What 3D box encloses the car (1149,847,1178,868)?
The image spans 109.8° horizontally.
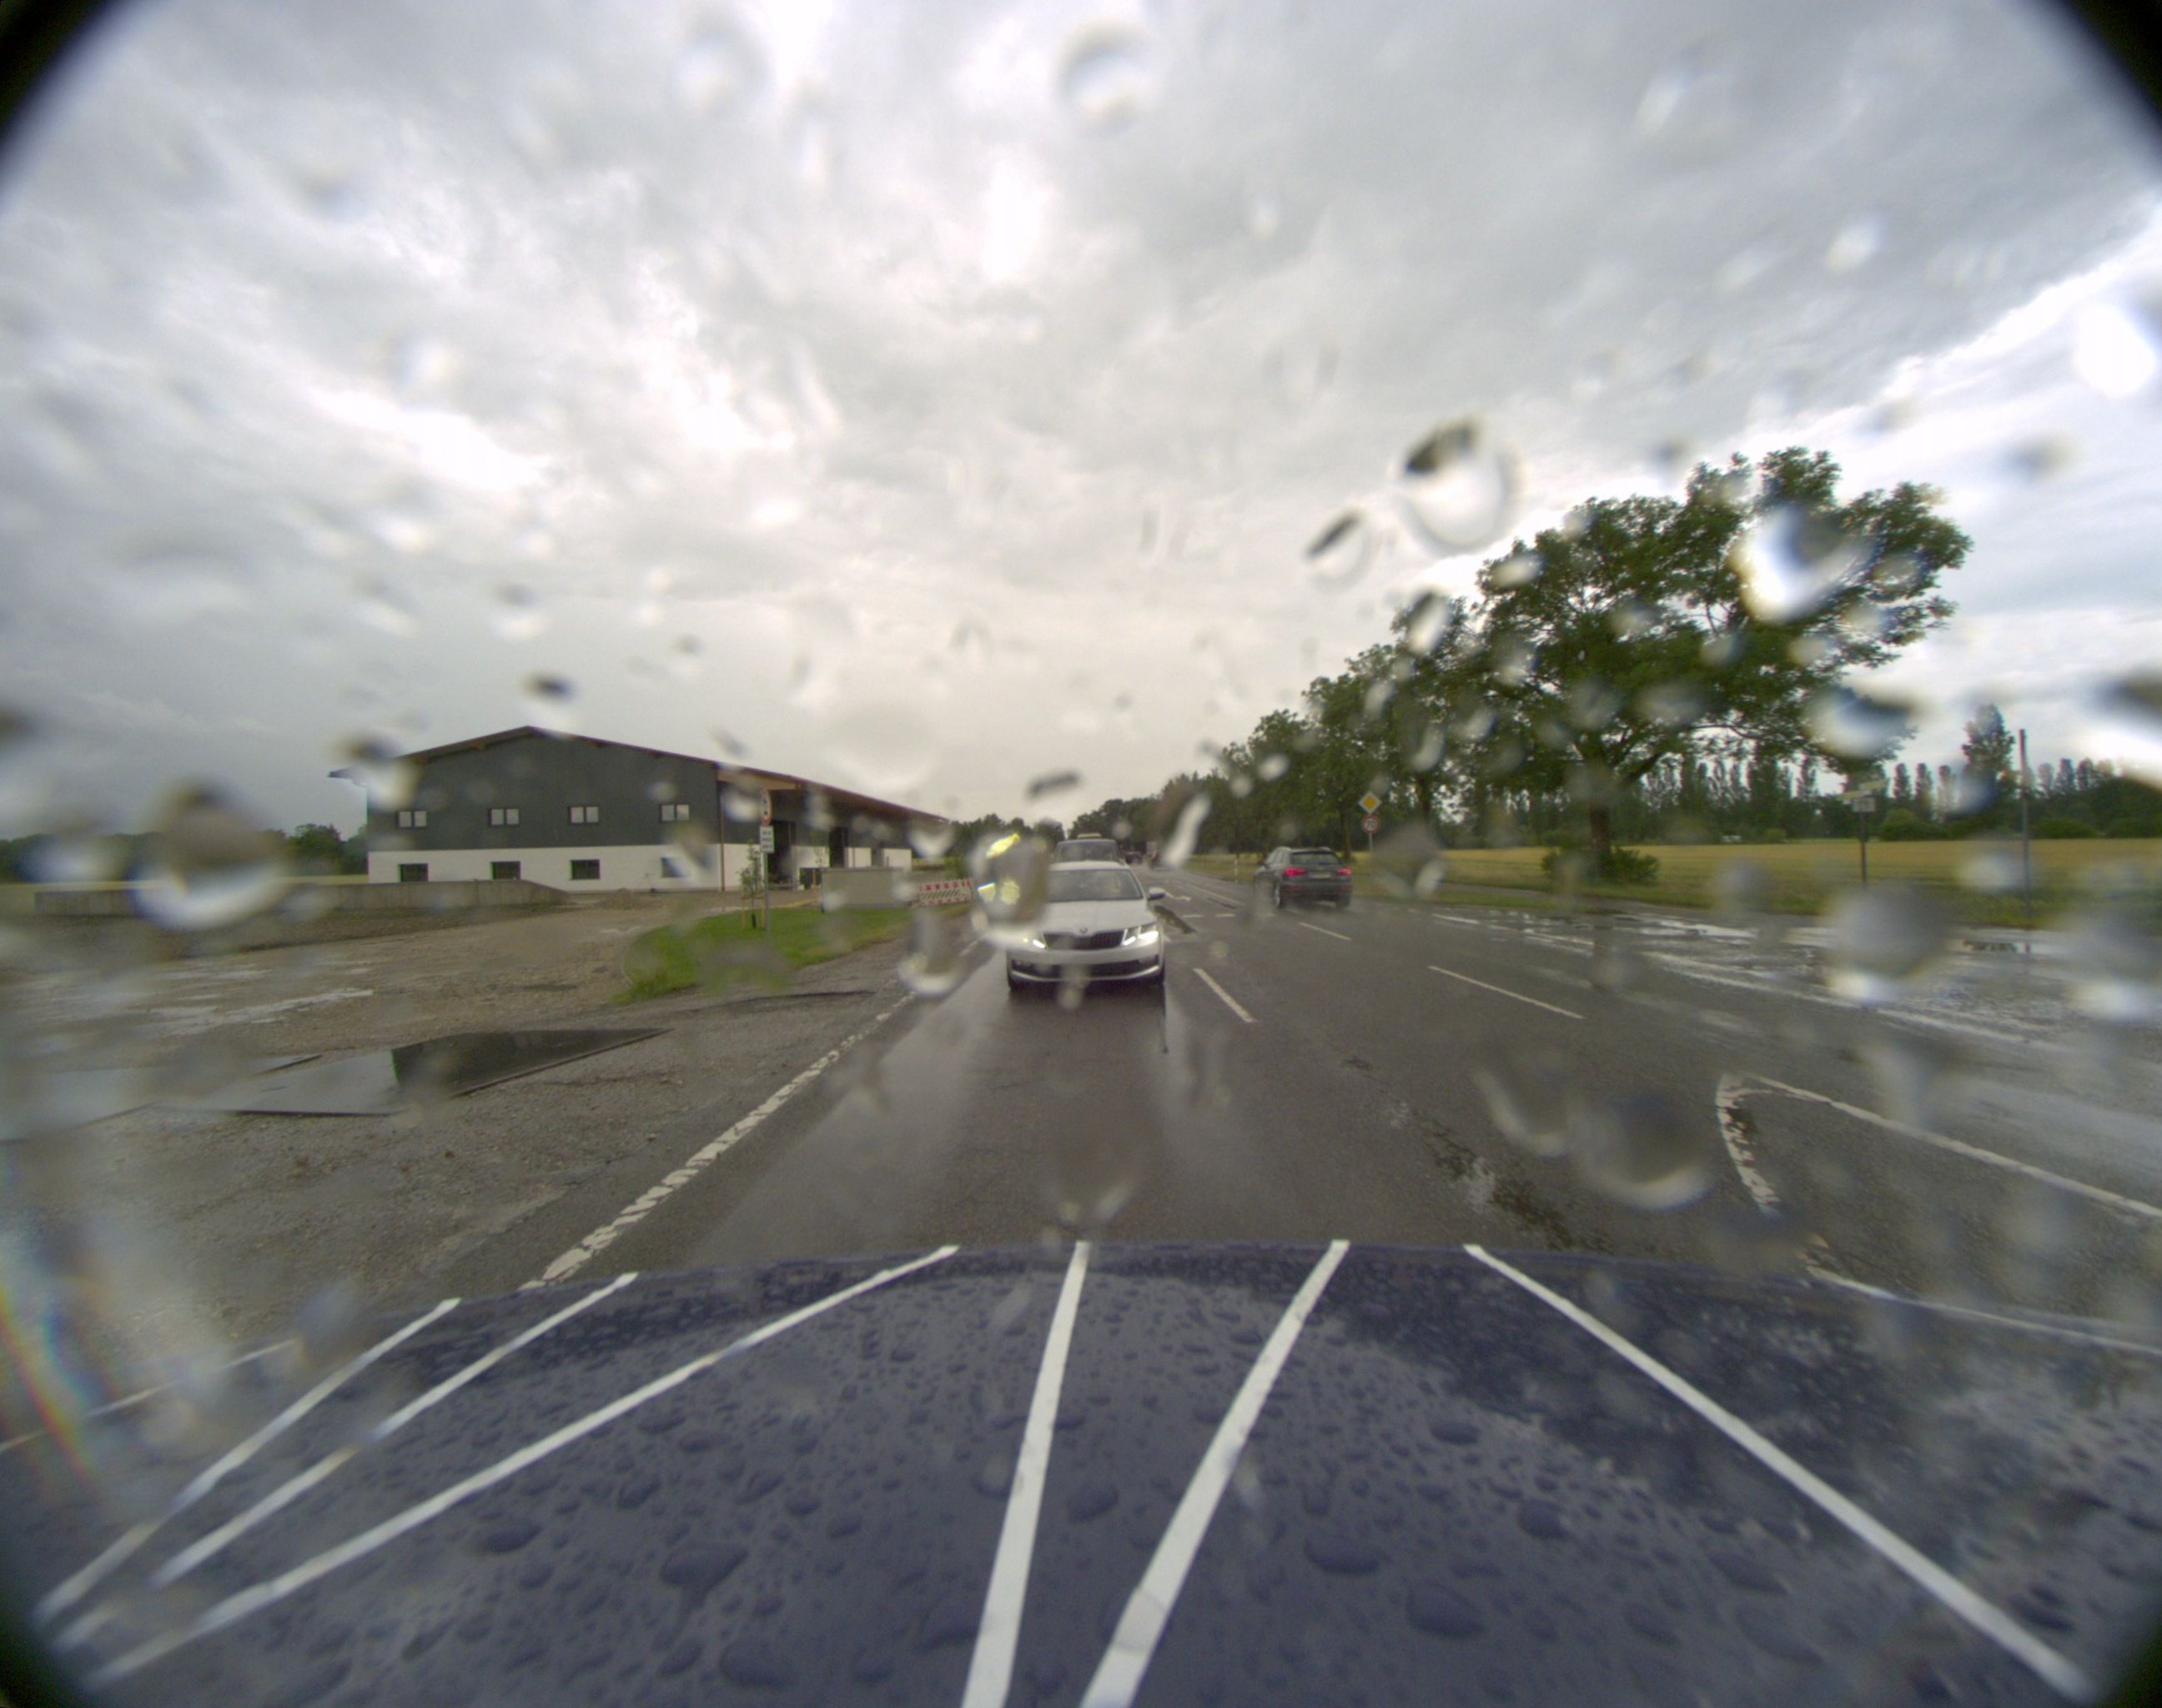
[{"bbox_3d":[6.633,0.266,61.580,1.949,1.571,4.443,0,0,0],"label":"car"}]

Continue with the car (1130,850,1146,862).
[{"bbox_3d":[6.734,0.229,89.890,1.716,1.397,3.814,0,0,2],"label":"car"}]

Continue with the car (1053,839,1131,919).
[{"bbox_3d":[0.306,0.578,20.711,1.841,1.888,4.575,-1,1,1],"label":"car"}]

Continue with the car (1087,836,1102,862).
[{"bbox_3d":[1.615,-0.622,92.745,1.771,3.134,4.027,-2,1,0],"label":"car"}]

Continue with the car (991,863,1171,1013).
[{"bbox_3d":[0.043,0.866,9.874,1.770,1.365,4.575,-1,1,1],"label":"car"}]

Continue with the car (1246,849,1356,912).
[{"bbox_3d":[5.739,0.617,20.331,1.773,1.514,4.141,0,0,1],"label":"car"}]

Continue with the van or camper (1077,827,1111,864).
[{"bbox_3d":[1.387,-0.911,81.113,3.342,3.624,8.372,-1,1,1],"label":"van or camper"}]
